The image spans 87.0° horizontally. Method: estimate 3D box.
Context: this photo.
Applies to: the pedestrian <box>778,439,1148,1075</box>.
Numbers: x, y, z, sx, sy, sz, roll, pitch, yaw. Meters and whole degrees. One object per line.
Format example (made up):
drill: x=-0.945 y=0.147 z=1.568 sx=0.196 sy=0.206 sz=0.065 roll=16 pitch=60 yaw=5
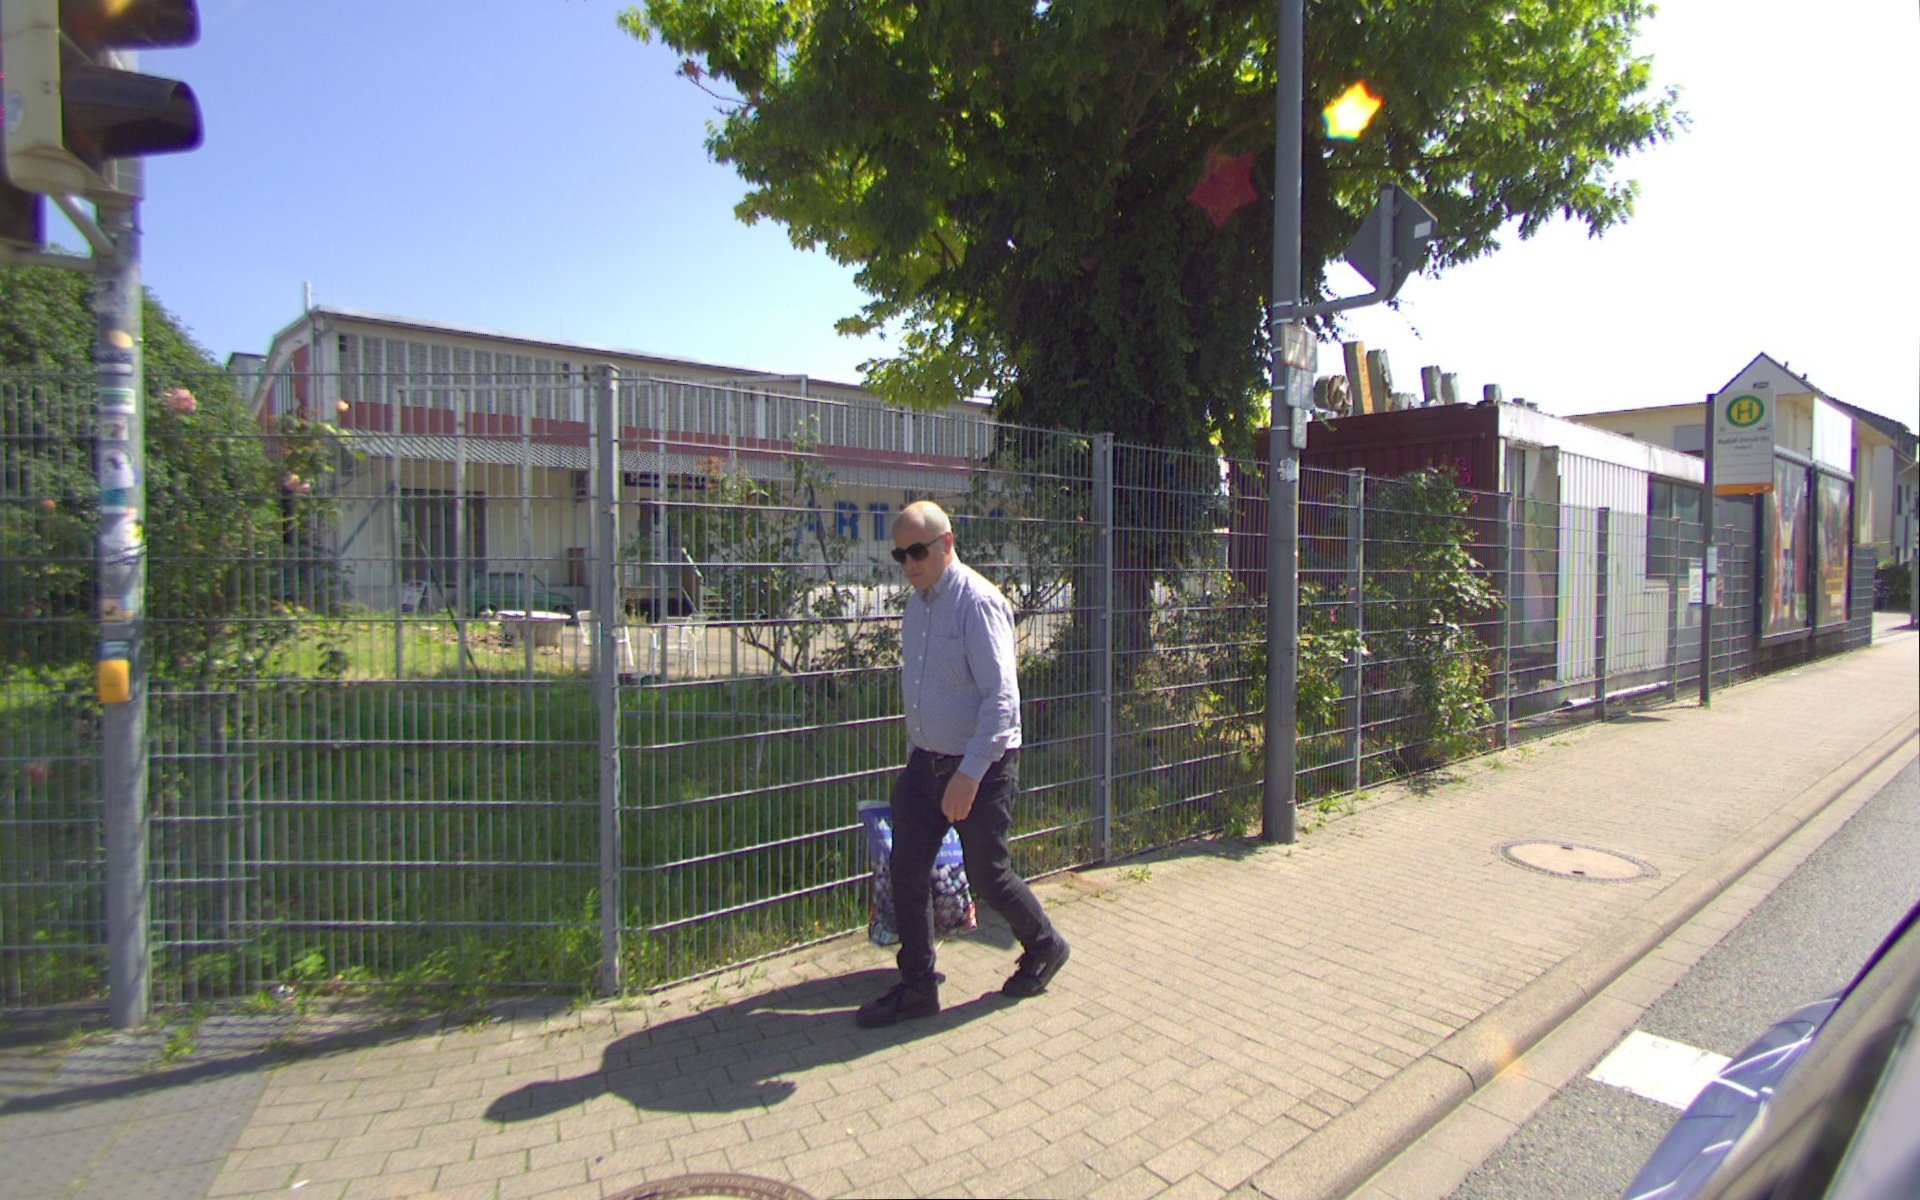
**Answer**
pedestrian: x=0.004 y=0.406 z=3.324 sx=0.872 sy=1.720 sz=0.814 roll=0 pitch=2 yaw=-42
